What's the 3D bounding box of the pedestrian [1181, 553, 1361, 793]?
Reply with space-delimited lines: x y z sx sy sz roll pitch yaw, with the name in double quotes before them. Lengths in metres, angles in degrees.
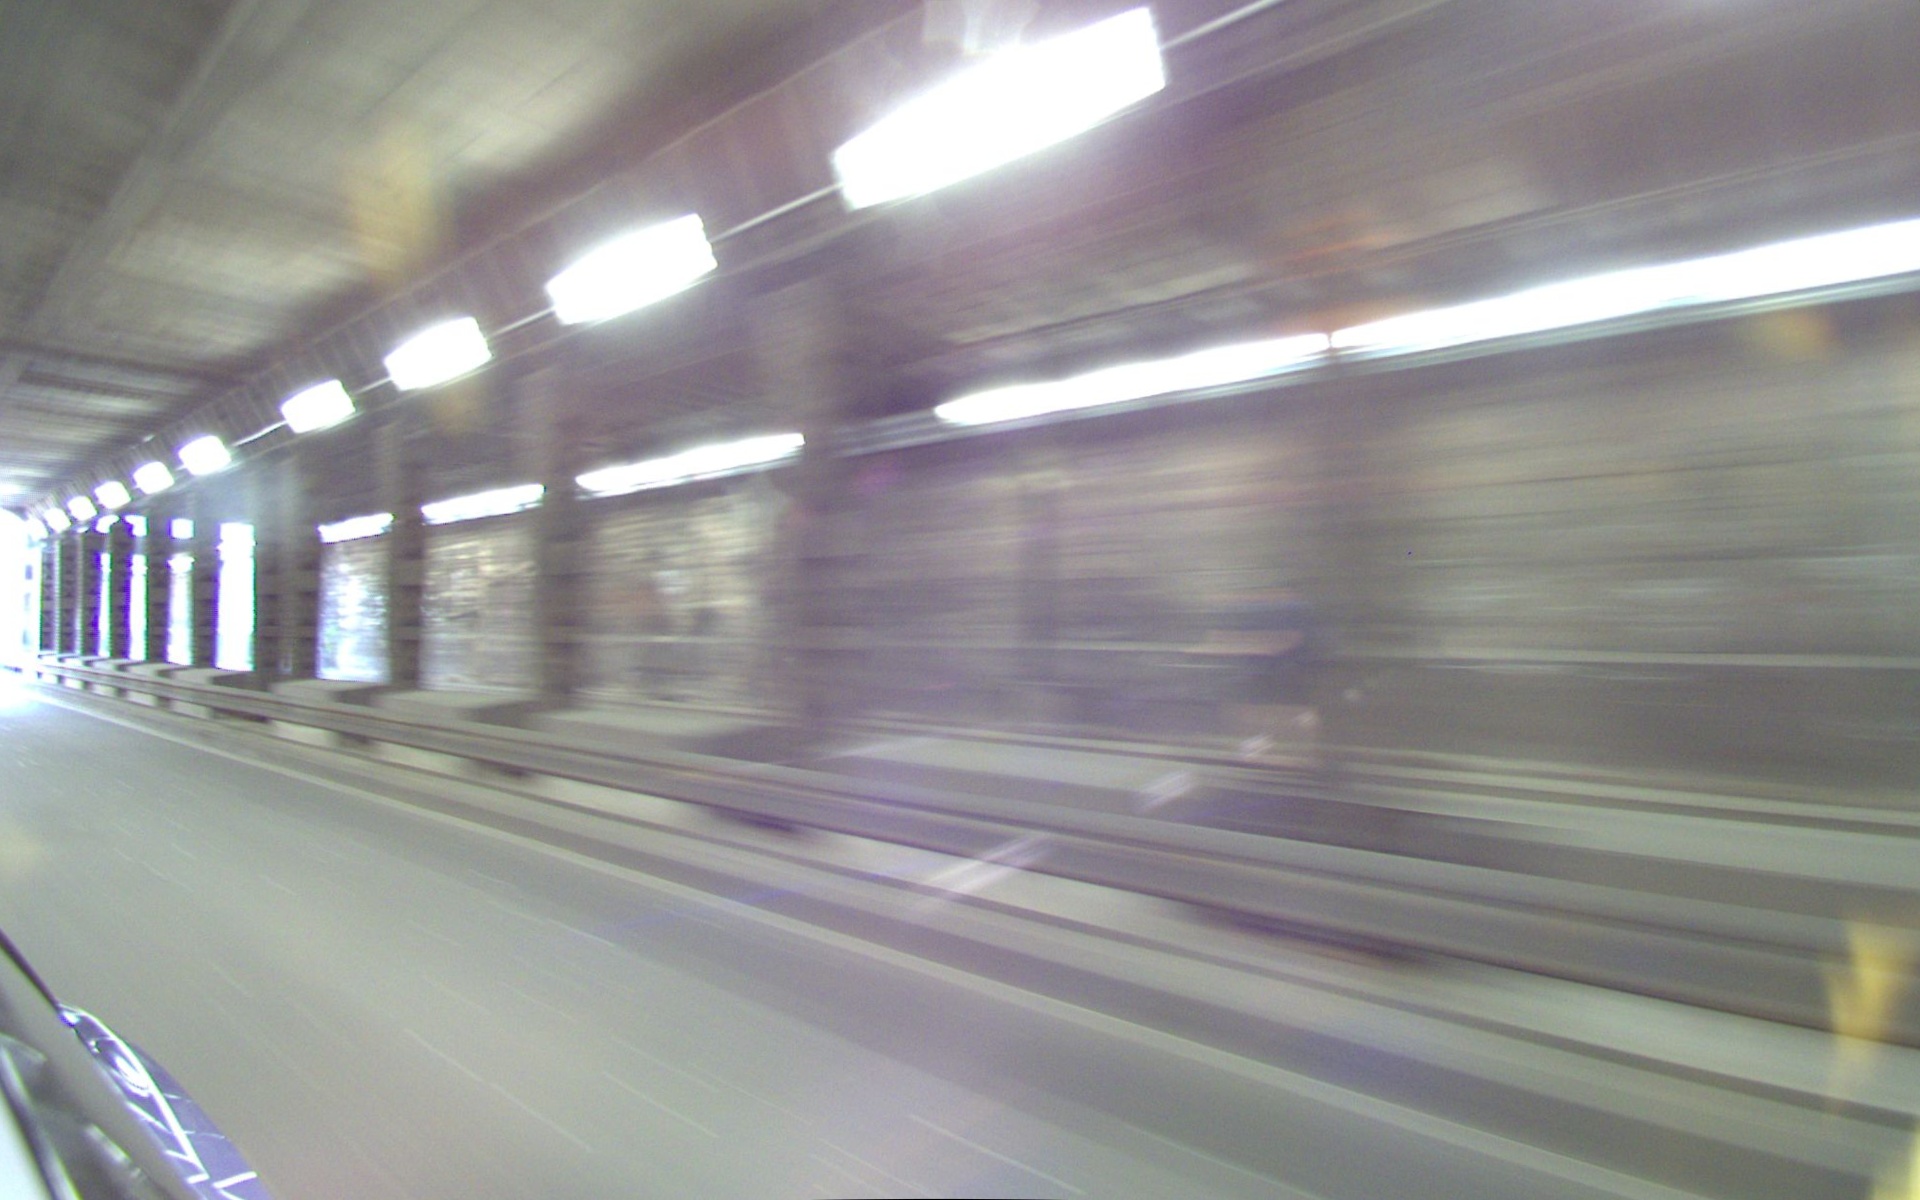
"pedestrian" 2.928 0.636 9.557 1.355 2.071 0.948 0 -1 42
